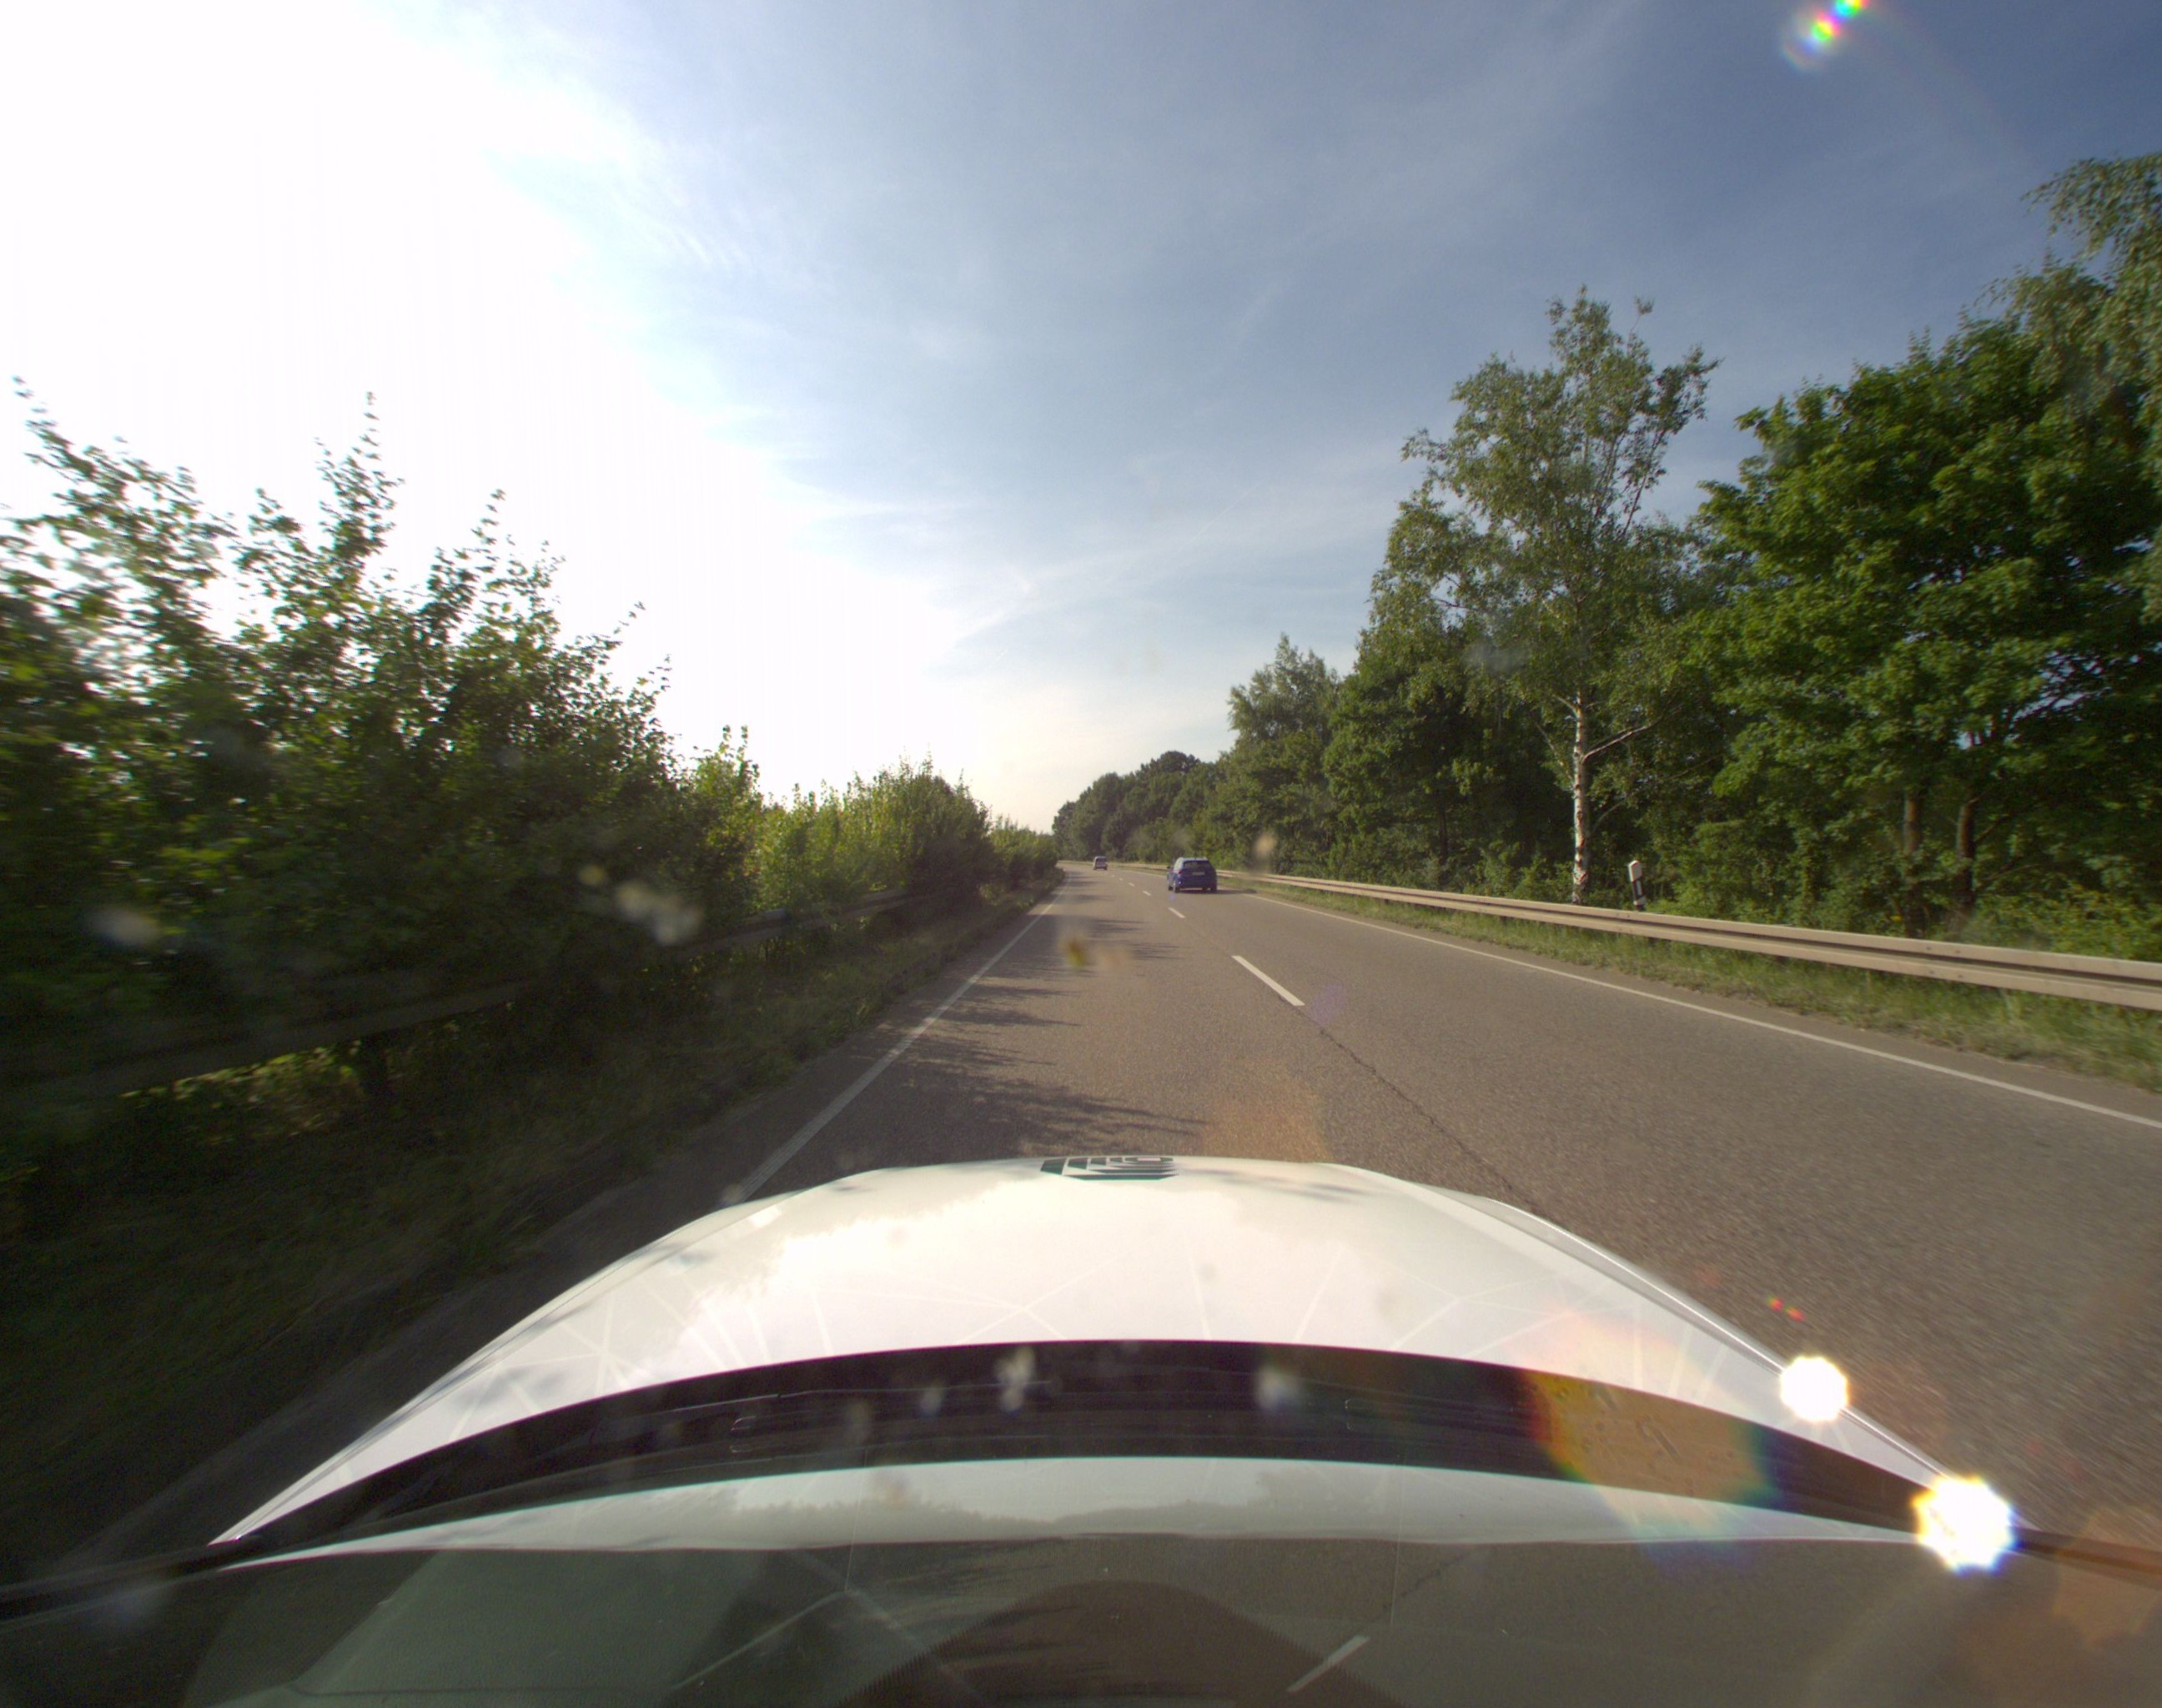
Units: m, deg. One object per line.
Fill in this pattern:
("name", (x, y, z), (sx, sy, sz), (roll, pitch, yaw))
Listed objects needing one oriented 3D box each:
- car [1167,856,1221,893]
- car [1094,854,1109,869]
("car", (4.737, 0.833, 34.640), (1.773, 1.451, 3.999), (-1, 0, 0))
("car", (2.701, 0.964, 109.232), (1.761, 1.881, 3.996), (-1, 0, -3))
